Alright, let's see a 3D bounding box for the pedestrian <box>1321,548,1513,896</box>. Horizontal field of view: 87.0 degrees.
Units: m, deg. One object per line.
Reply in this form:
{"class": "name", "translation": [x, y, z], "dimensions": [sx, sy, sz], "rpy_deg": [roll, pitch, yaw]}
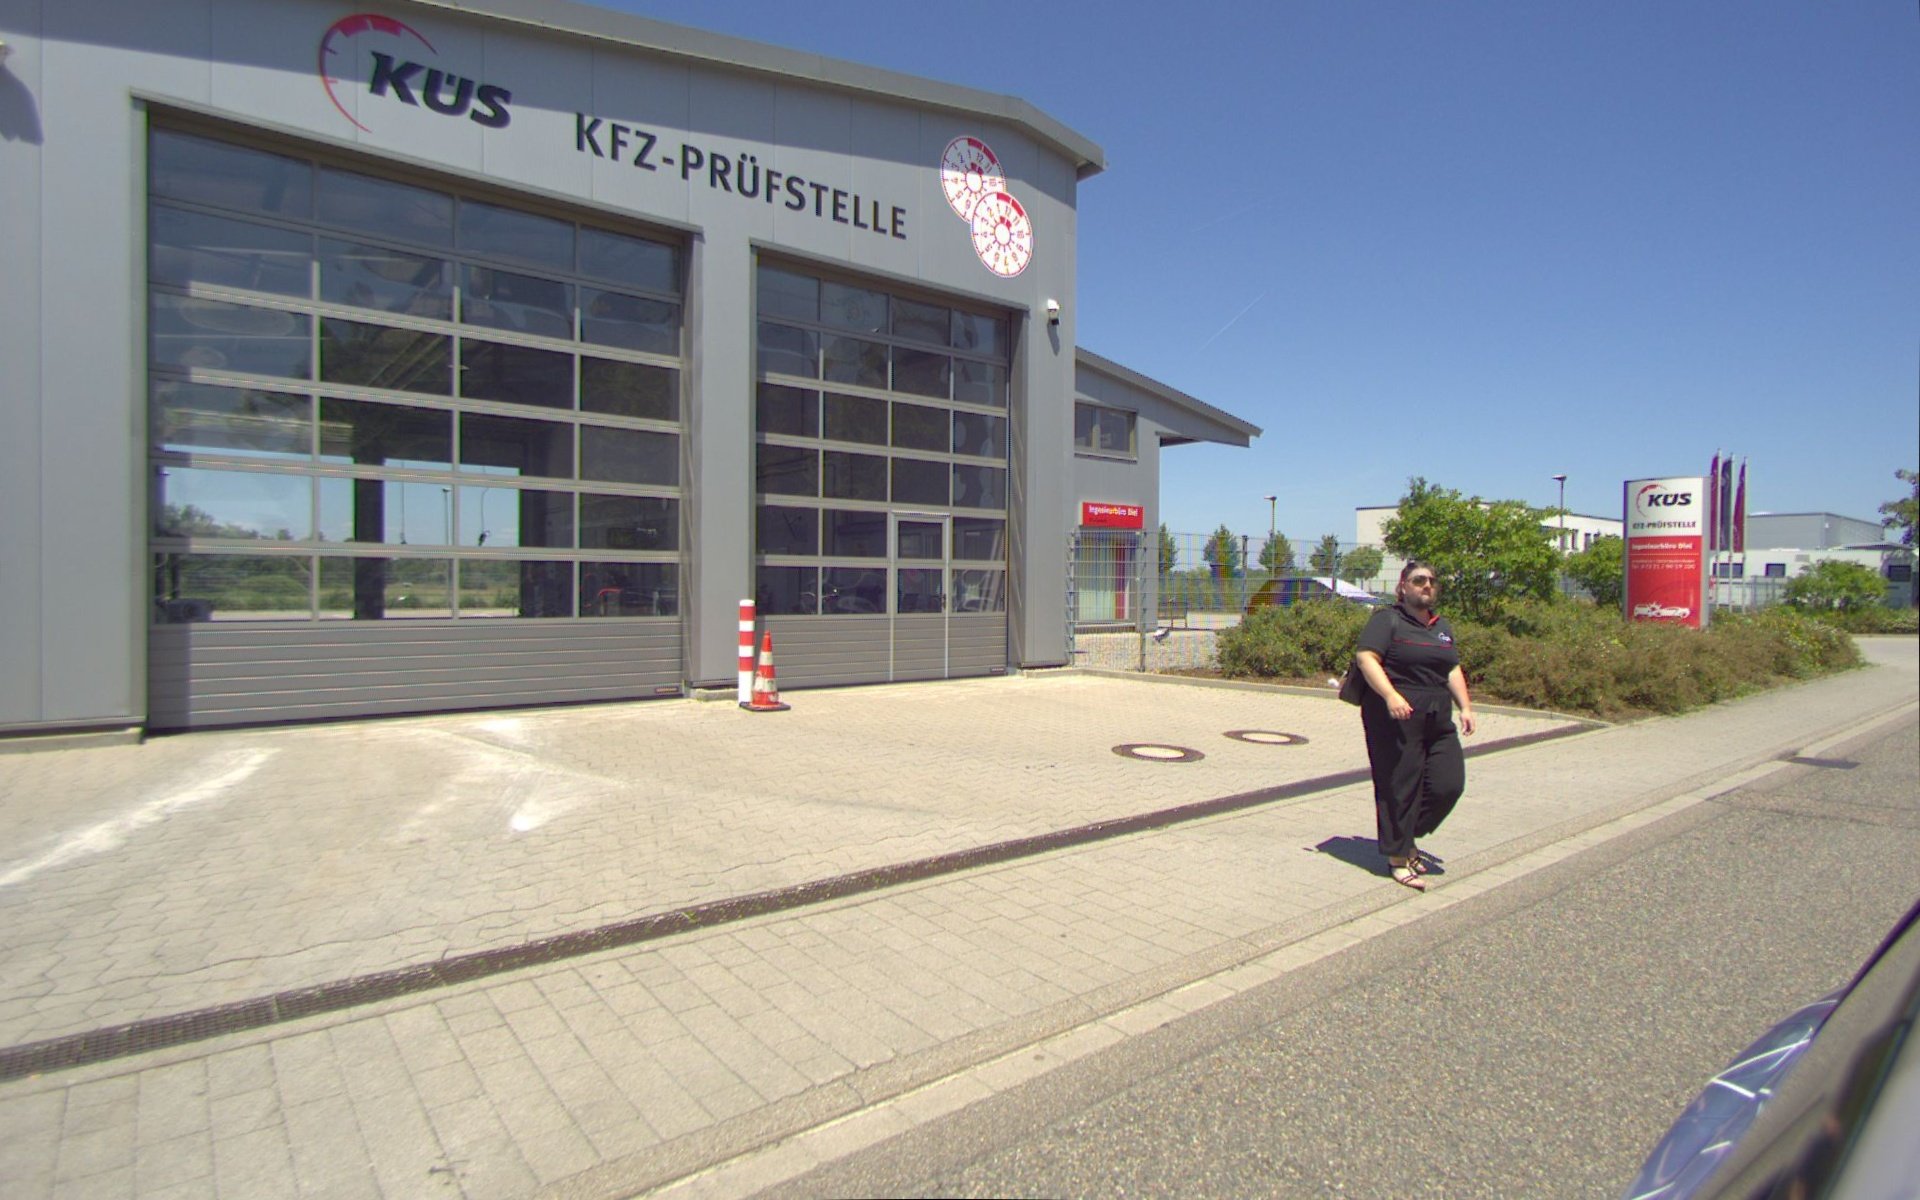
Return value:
{"class": "pedestrian", "translation": [2.286, 0.572, 5.139], "dimensions": [0.703, 1.632, 0.499], "rpy_deg": [3, 4, 14]}

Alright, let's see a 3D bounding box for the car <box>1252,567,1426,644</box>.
{"class": "car", "translation": [9.097, 0.079, 24.508], "dimensions": [1.673, 1.698, 3.619], "rpy_deg": [-1, 1, -39]}

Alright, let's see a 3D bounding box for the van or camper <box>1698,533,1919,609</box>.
{"class": "van or camper", "translation": [32.154, -1.076, 37.968], "dimensions": [2.588, 2.617, 6.774], "rpy_deg": [-1, 2, -39]}

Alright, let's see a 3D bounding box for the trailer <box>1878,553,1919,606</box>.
{"class": "trailer", "translation": [45.024, -0.970, 47.417], "dimensions": [1.395, 2.433, 2.827], "rpy_deg": [-1, 2, -42]}
